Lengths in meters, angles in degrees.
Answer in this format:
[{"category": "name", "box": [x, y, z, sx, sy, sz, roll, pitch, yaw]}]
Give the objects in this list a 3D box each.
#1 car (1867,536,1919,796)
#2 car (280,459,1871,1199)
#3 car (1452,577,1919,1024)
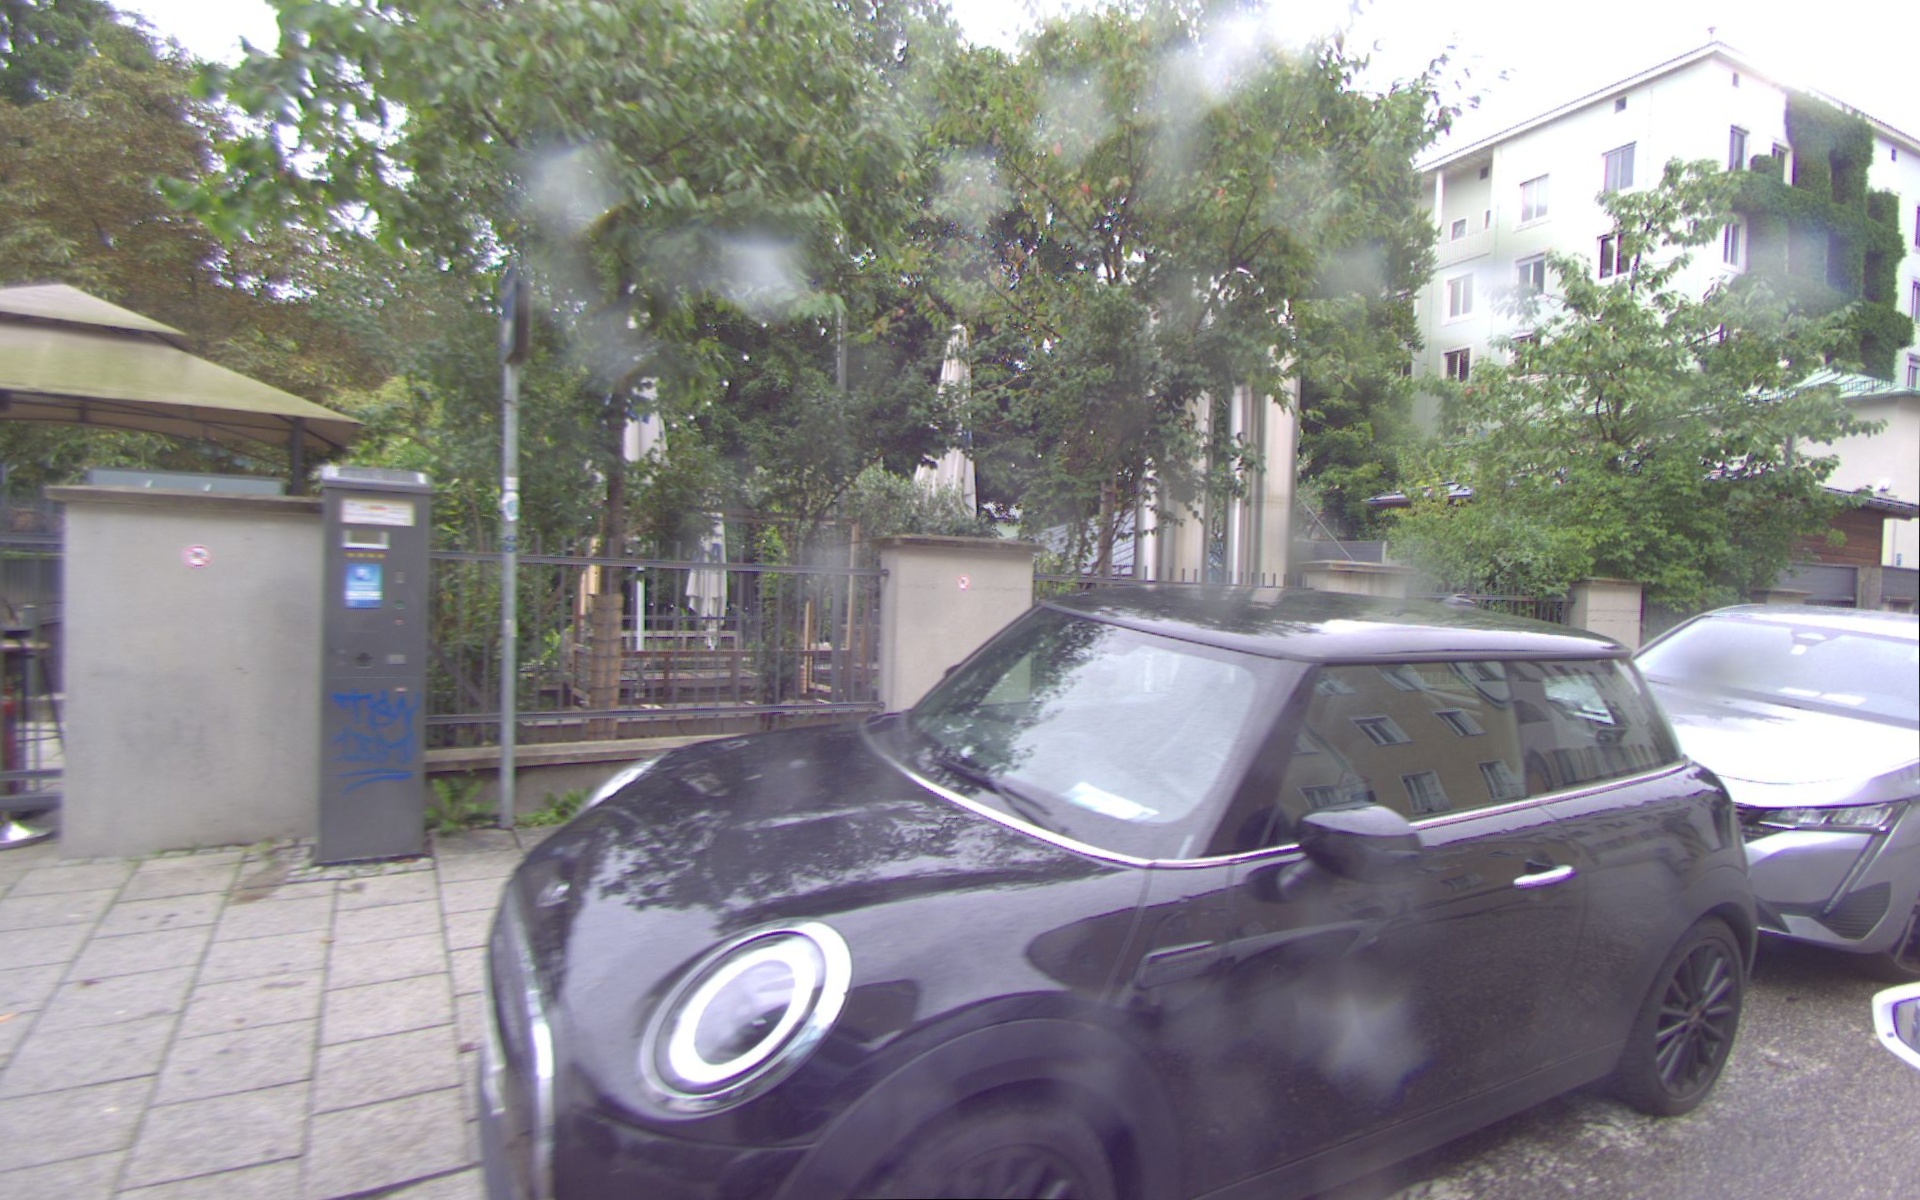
[{"category": "car", "box": [9.988, 0.594, 8.577, 5.095, 2.017, 1.955, 1, 2, -32]}, {"category": "car", "box": [0.608, 0.671, 2.949, 4.137, 1.565, 1.851, 1, -1, -29]}, {"category": "car", "box": [4.932, 0.732, 5.521, 4.646, 1.564, 1.876, 1, 1, -33]}]
